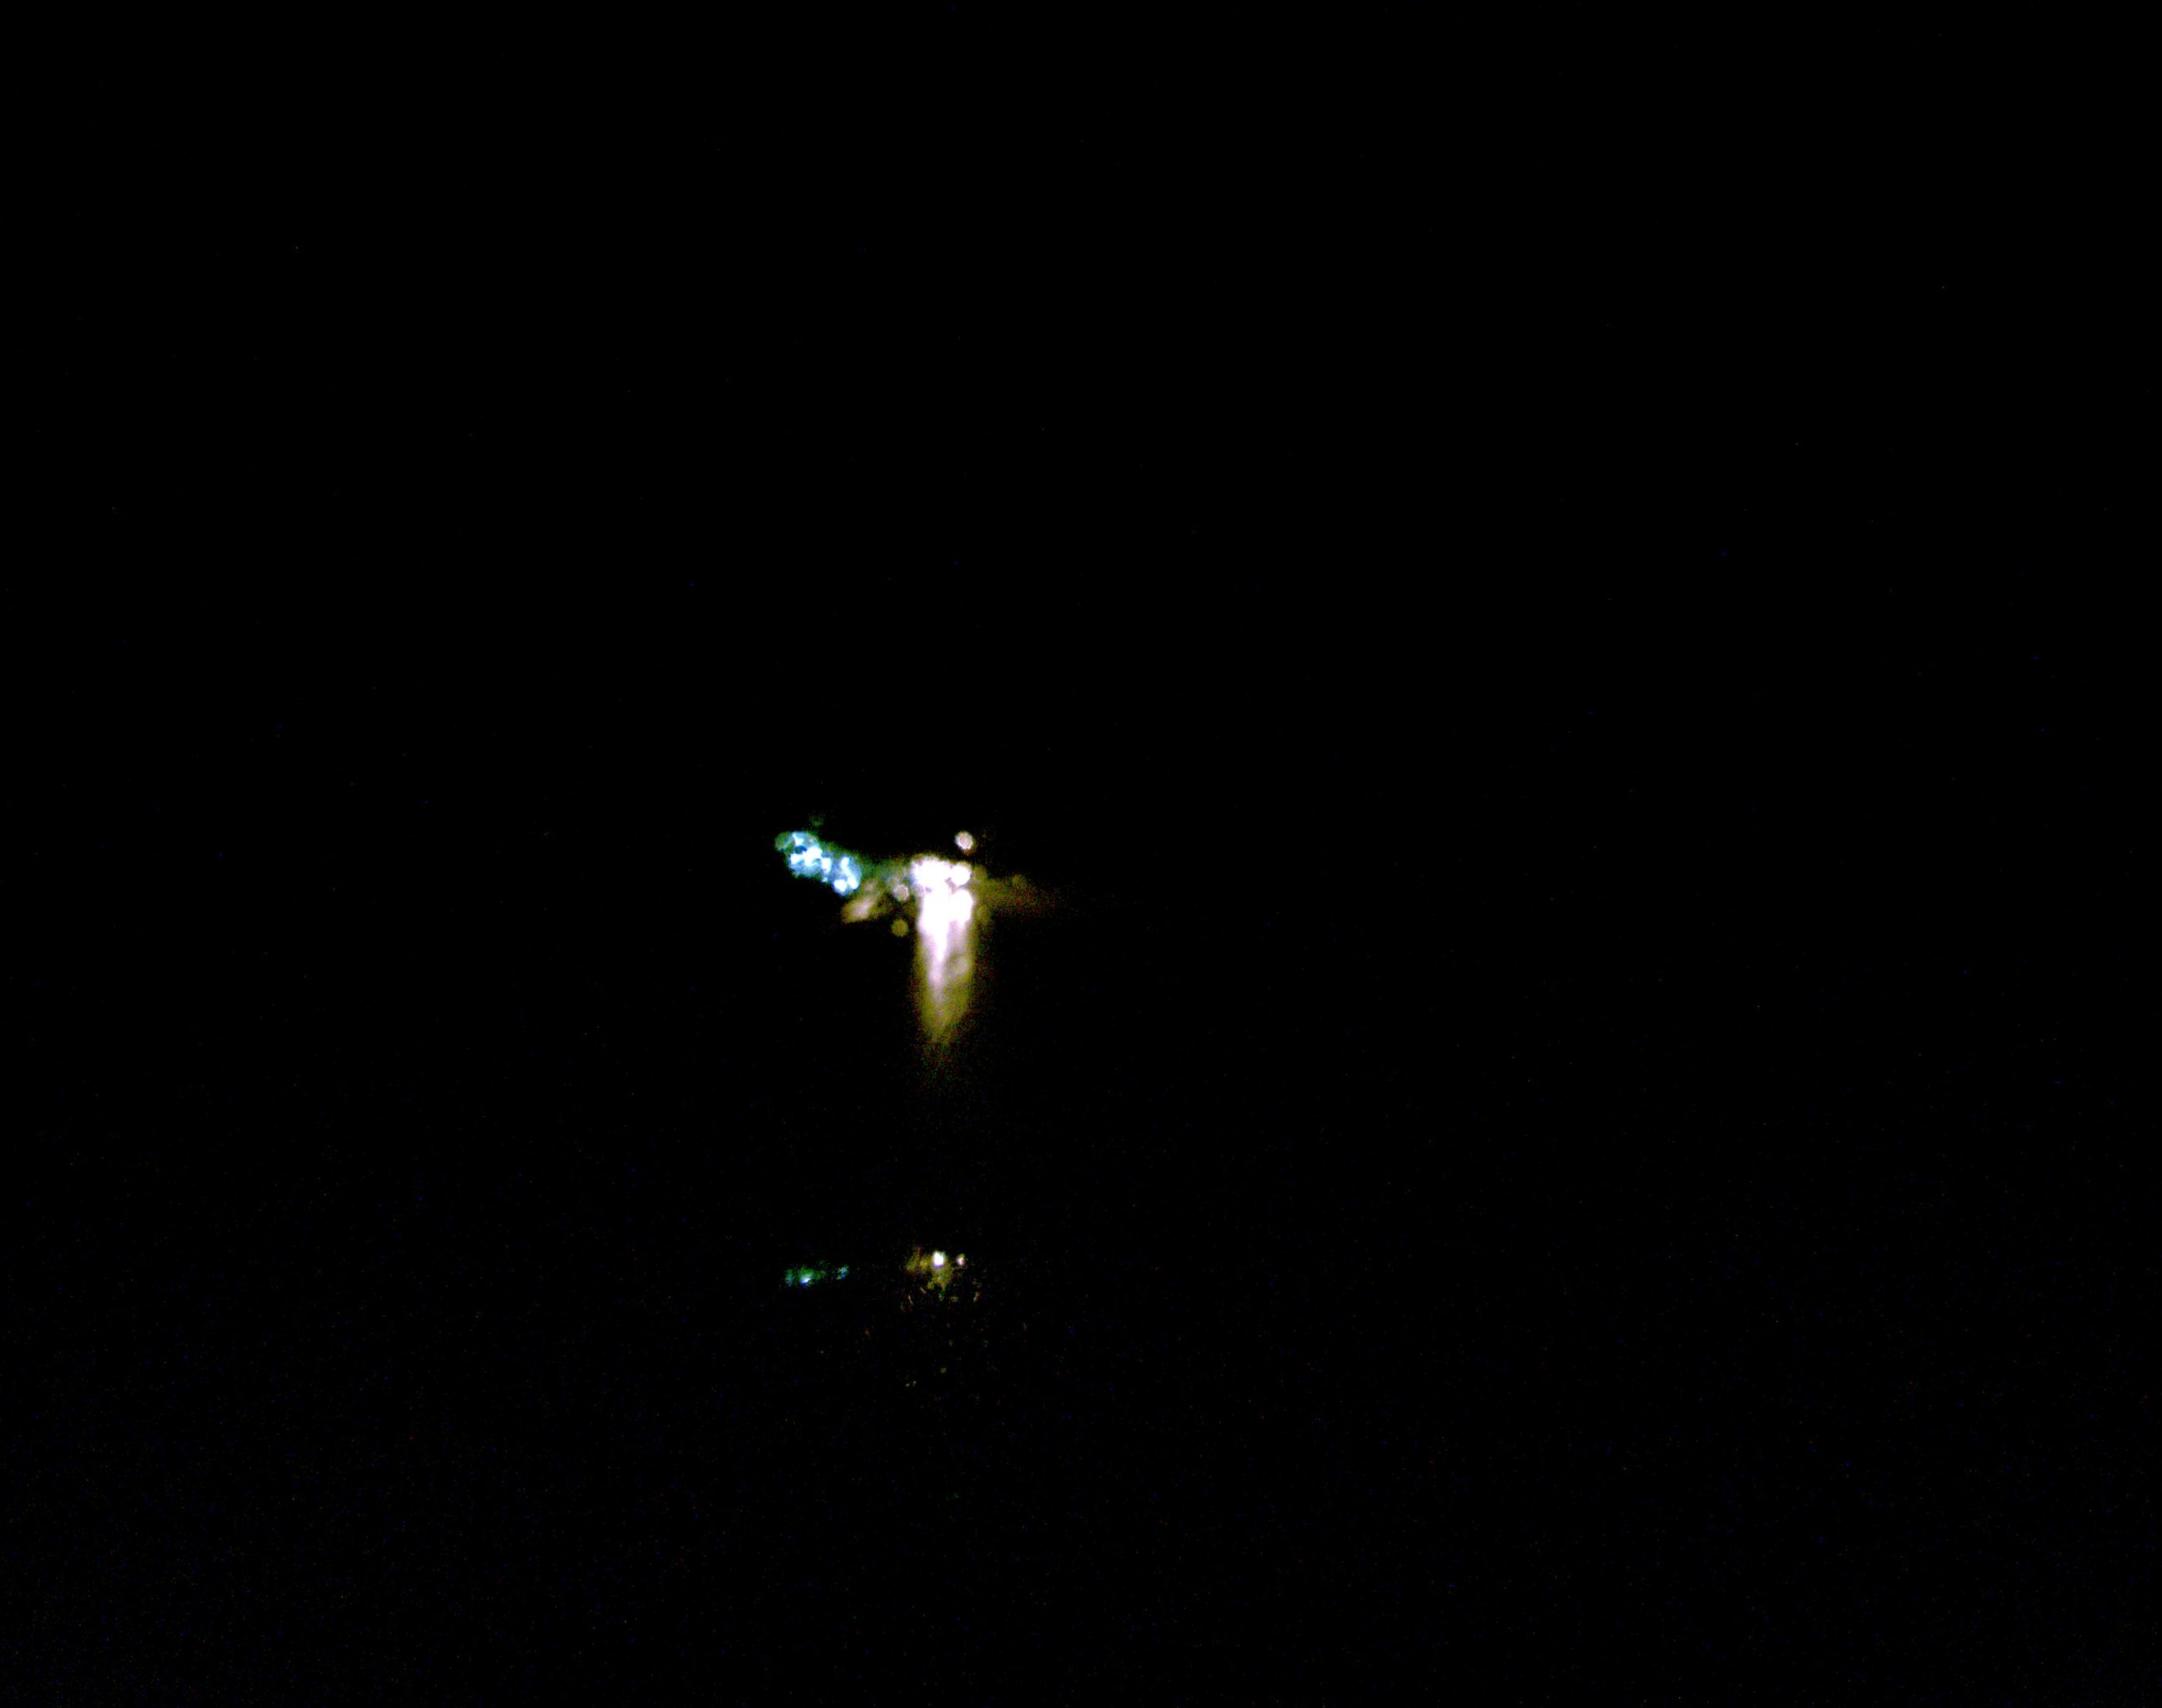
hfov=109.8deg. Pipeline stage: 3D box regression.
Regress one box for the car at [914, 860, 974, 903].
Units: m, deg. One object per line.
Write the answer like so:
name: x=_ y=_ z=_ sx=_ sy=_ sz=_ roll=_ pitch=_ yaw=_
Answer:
car: x=-6.302 y=1.198 z=34.522 sx=1.896 sy=1.603 sz=3.991 roll=0 pitch=3 yaw=-22

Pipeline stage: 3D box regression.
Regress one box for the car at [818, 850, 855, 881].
car: x=-18.231 y=0.811 z=56.555 sx=2.002 sy=2.003 sz=3.991 roll=-6 pitch=4 yaw=-25

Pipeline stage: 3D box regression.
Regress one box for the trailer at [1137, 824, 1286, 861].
trailer: x=11.052 y=-1.092 z=65.879 sx=12.973 sy=2.713 sz=2.004 roll=3 pitch=3 yaw=33

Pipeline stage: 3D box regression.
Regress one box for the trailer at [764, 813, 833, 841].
trailer: x=-40.631 y=-3.955 z=109.023 sx=13.322 sy=3.857 sz=3.458 roll=2 pitch=4 yaw=42
